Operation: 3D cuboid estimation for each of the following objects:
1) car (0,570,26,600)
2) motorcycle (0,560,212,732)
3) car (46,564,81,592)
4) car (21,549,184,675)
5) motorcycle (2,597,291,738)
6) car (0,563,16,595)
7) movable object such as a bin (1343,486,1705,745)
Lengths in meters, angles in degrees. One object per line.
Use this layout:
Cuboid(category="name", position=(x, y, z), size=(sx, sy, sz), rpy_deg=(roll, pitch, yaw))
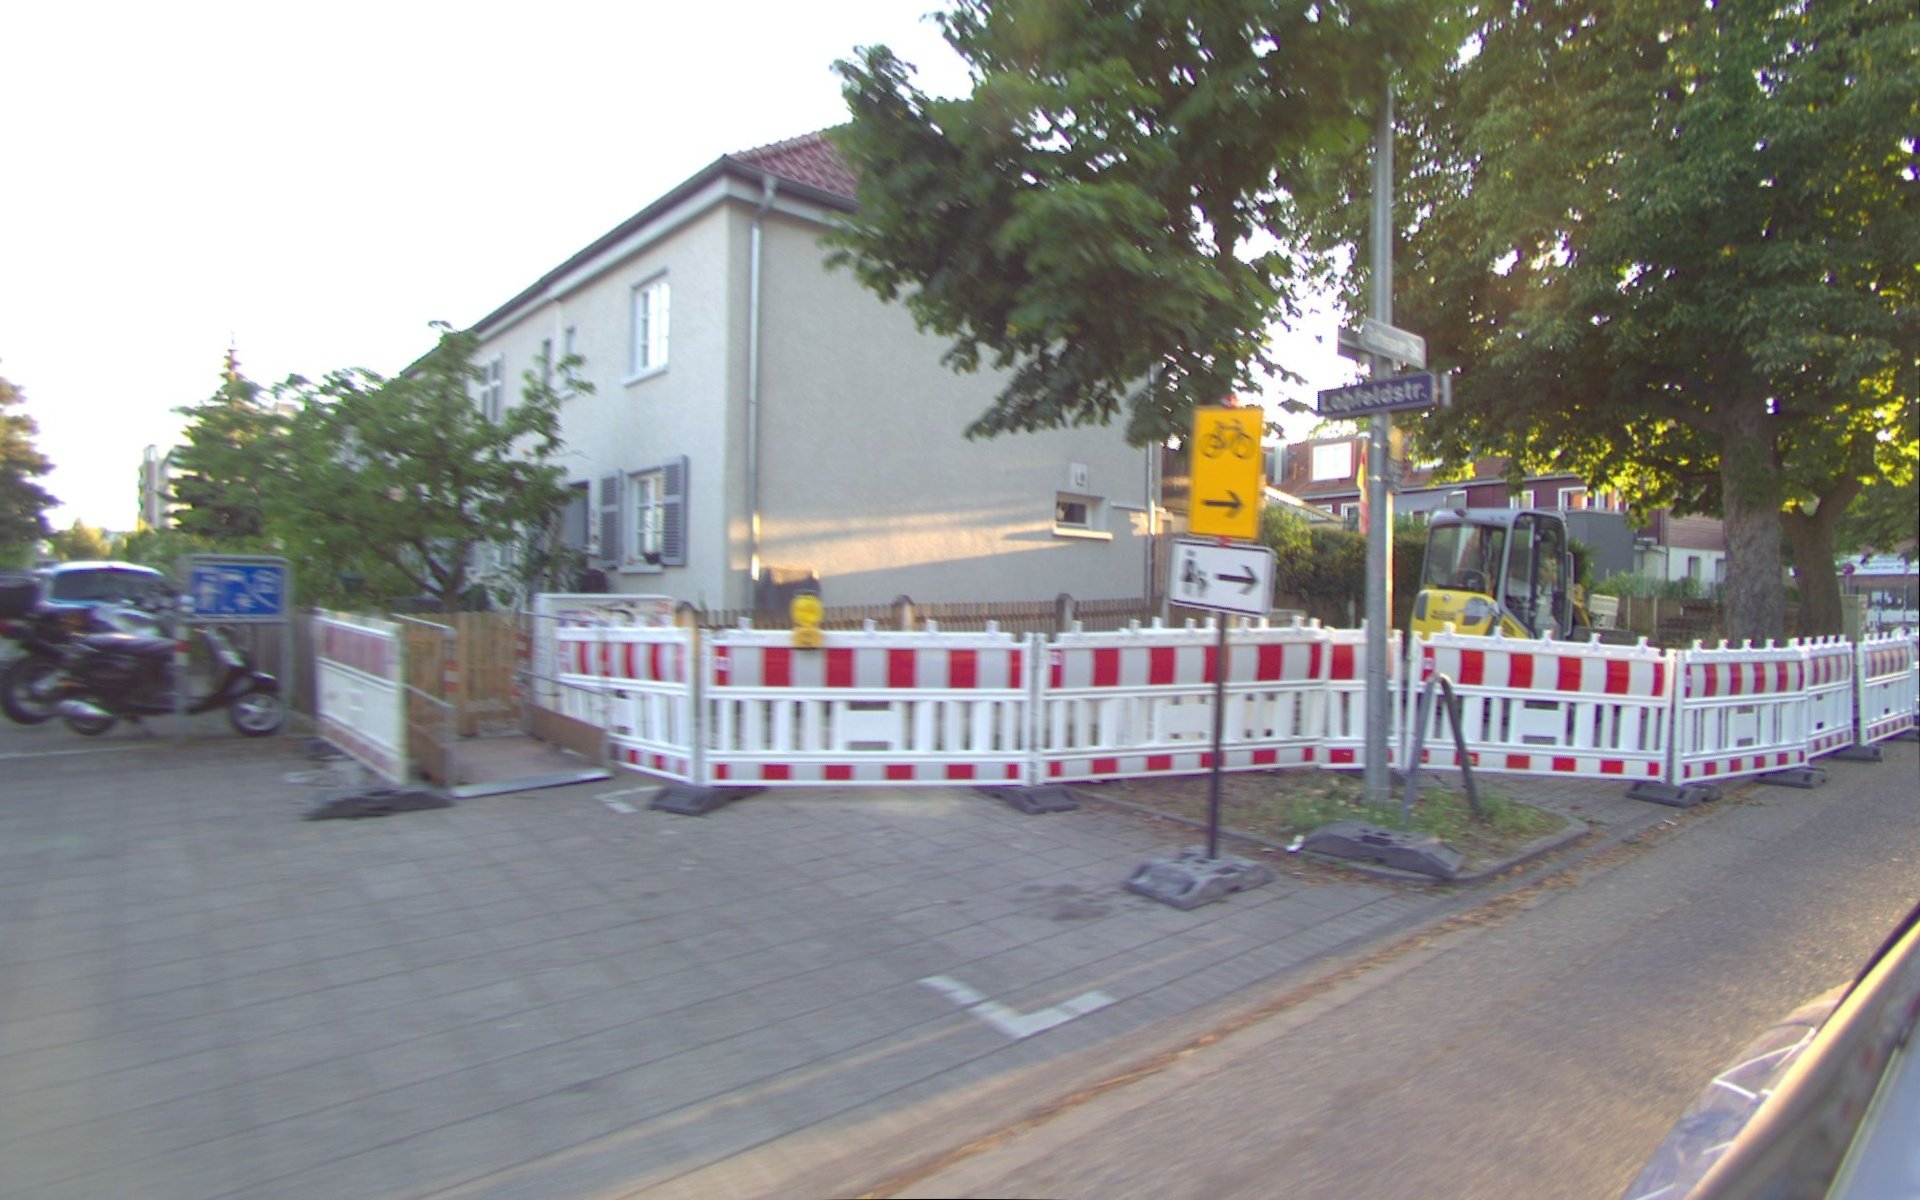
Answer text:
Cuboid(category="car", position=(-67.009, -1.047, 71.092), size=(1.966, 2.039, 3.991), rpy_deg=(1, 0, -43))
Cuboid(category="motorcycle", position=(-8.162, 0.381, 9.479), size=(0.587, 1.434, 2.077), rpy_deg=(0, 0, 6))
Cuboid(category="car", position=(-68.813, -1.641, 77.731), size=(1.965, 2.039, 3.993), rpy_deg=(1, 0, -42))
Cuboid(category="car", position=(-12.886, 0.161, 15.284), size=(1.689, 1.658, 3.628), rpy_deg=(1, 0, -40))
Cuboid(category="motorcycle", position=(-6.732, 0.539, 8.461), size=(1.808, 1.120, 0.582), rpy_deg=(0, -1, -11))
Cuboid(category="car", position=(-57.689, -1.229, 60.360), size=(1.966, 1.835, 3.991), rpy_deg=(1, 0, -43))
Cuboid(category="movable object such as a bin", position=(7.000, 0.153, 12.274), size=(2.628, 2.433, 5.114), rpy_deg=(0, 0, 44))
